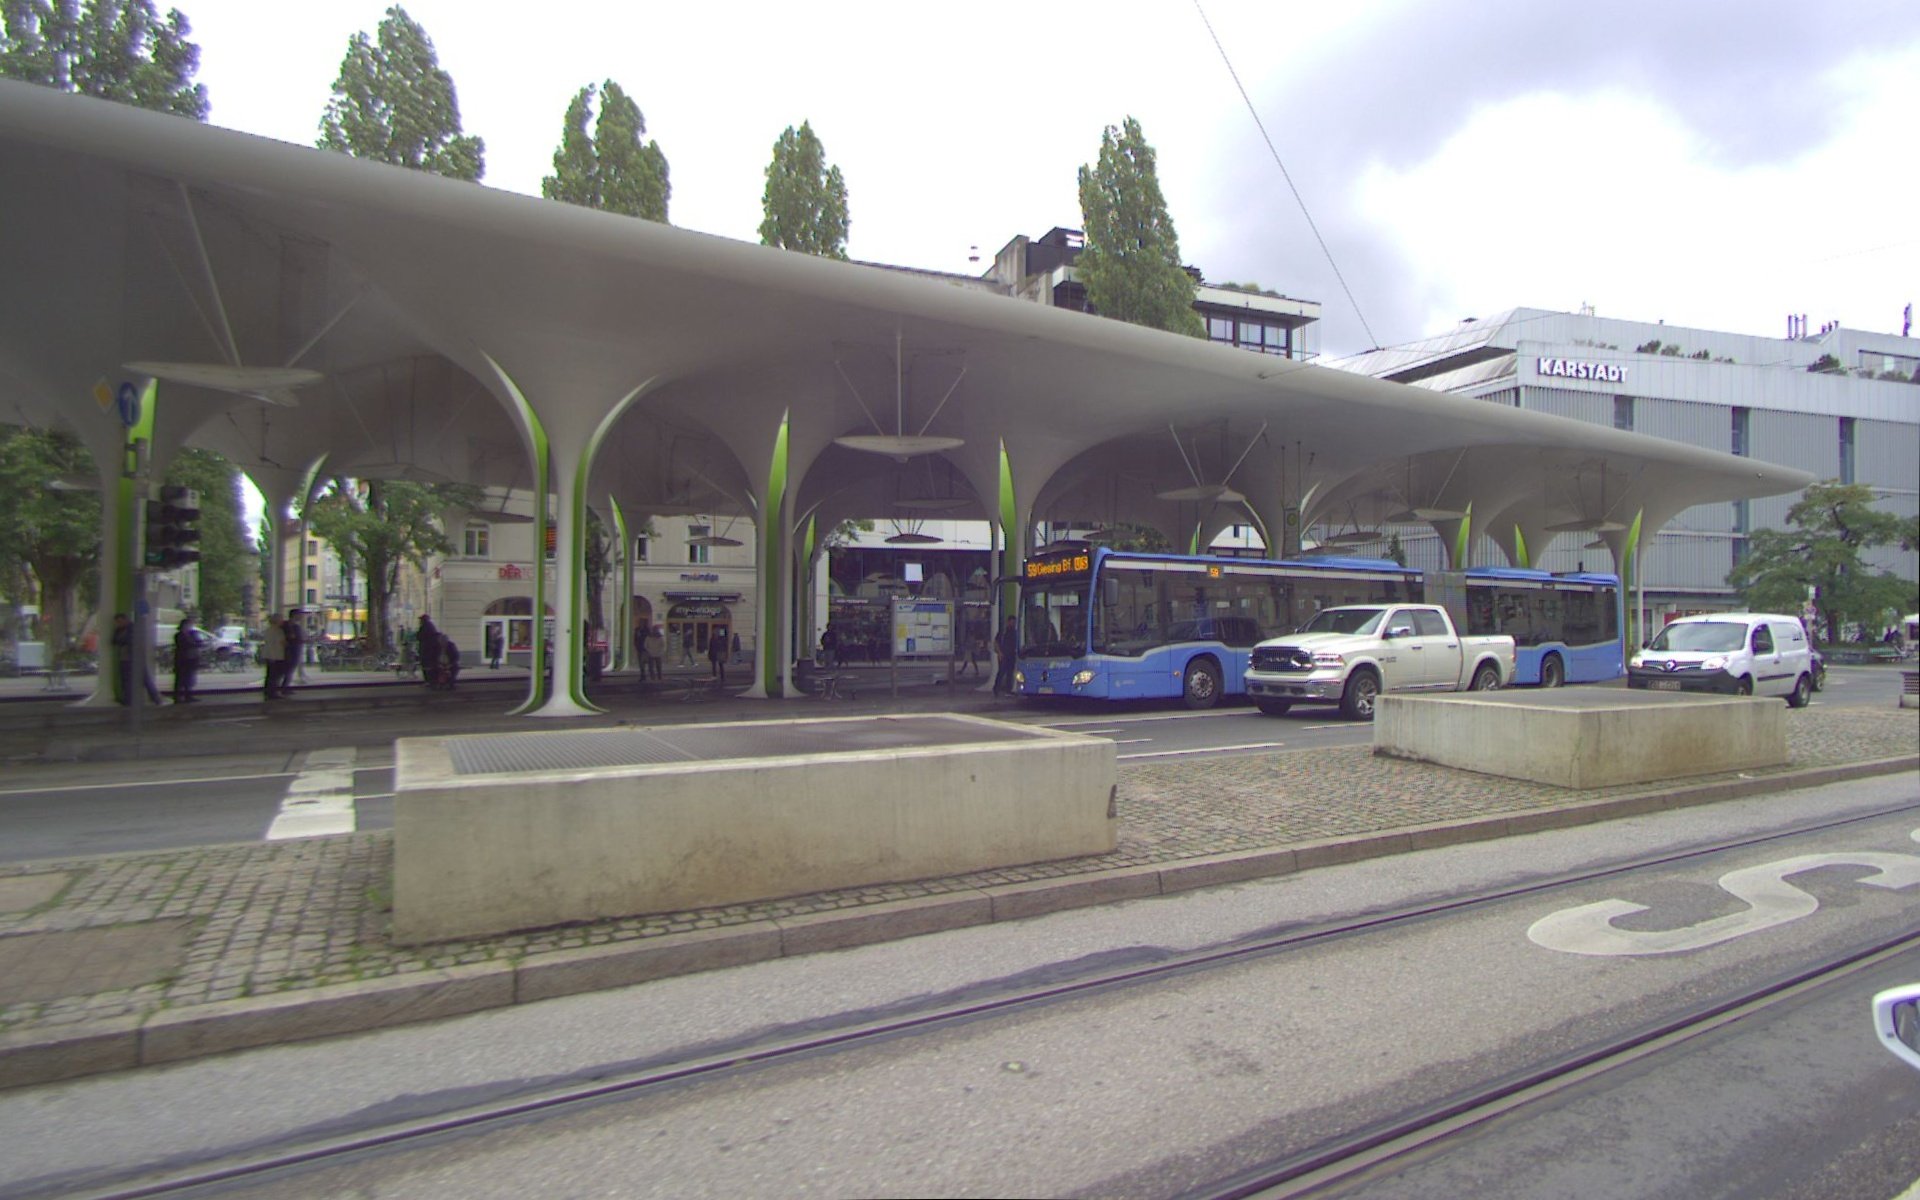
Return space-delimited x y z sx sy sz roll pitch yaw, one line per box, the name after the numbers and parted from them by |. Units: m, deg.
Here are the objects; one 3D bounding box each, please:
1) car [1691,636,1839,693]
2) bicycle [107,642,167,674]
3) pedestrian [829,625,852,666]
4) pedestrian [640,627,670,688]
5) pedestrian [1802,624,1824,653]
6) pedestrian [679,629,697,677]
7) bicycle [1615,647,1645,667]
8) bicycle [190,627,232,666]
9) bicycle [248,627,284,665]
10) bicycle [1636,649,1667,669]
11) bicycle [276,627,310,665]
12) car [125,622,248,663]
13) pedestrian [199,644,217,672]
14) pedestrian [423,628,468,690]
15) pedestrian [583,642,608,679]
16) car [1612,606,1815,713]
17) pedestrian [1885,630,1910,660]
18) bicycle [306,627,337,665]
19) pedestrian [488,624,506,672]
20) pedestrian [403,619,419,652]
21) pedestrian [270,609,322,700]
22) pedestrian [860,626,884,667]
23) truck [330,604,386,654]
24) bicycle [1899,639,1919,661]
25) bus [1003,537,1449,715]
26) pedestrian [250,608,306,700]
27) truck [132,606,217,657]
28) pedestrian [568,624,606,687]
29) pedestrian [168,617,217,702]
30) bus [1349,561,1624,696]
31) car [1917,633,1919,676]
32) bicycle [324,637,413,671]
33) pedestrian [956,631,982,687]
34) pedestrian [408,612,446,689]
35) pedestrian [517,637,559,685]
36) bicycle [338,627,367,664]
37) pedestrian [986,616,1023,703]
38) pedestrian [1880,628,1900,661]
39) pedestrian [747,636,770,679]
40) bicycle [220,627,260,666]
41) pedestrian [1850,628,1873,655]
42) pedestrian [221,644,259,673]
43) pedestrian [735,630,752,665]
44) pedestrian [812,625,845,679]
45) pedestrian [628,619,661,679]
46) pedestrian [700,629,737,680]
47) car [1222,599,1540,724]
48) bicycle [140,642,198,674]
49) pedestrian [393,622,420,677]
21.607 1.671 26.912 4.561 1.397 1.664 1 -2 -32 | car
-31.799 2.224 38.862 0.726 1.149 2.677 1 -1 -14 | bicycle
-5.306 2.029 44.615 0.981 1.796 0.931 1 -1 -10 | pedestrian
-8.309 1.549 27.391 0.690 1.639 0.644 1 -1 -26 | pedestrian
50.178 2.257 59.111 0.774 1.710 0.862 0 -1 26 | pedestrian
-12.671 2.475 46.786 0.716 2.201 0.556 1 -1 -19 | pedestrian
36.551 3.124 54.808 1.962 1.011 0.524 3 -2 -29 | bicycle
-32.968 2.013 44.286 0.989 1.634 3.598 1 -1 -29 | bicycle
-31.192 2.050 45.191 0.989 1.634 3.598 1 -1 -29 | bicycle
36.985 3.142 53.723 1.962 1.011 0.524 3 -2 -29 | bicycle
-30.340 2.067 45.735 0.989 1.634 3.598 1 -1 -29 | bicycle
-38.576 2.116 50.235 4.761 1.945 1.979 2 -2 -38 | car
-29.584 2.272 39.516 0.397 1.097 0.467 1 -1 -16 | pedestrian
-11.794 1.333 23.061 0.829 1.388 0.961 1 -1 -23 | pedestrian
-10.360 1.713 28.551 0.450 1.002 0.513 0 -1 34 | pedestrian
14.604 1.114 19.422 4.172 1.879 1.776 1 -3 -33 | car
51.760 2.479 55.458 0.740 1.676 0.770 0 -1 -19 | pedestrian
-29.356 2.088 46.226 0.989 1.634 3.598 1 -1 -29 | bicycle
-18.108 1.871 39.259 0.546 1.838 0.556 1 -1 -18 | pedestrian
-30.969 1.998 56.658 0.791 1.807 0.951 1 -1 -31 | pedestrian
-14.257 1.152 21.580 0.870 1.897 0.706 1 -1 -37 | pedestrian
-3.952 2.061 44.884 0.981 1.796 0.931 1 -1 -10 | pedestrian
-32.701 1.593 54.670 2.412 2.546 7.126 1 -2 -30 | truck
50.209 2.607 52.566 0.368 1.126 1.569 1 -1 -25 | bicycle
5.933 0.610 21.071 10.399 3.046 2.647 1 -3 -32 | bus
-13.343 1.048 19.659 0.797 1.750 0.670 -1 -2 37 | pedestrian
-43.123 1.694 55.301 2.259 2.658 5.324 1 -1 -22 | truck
-9.591 1.415 25.823 0.652 1.585 0.640 -1 -2 35 | pedestrian
-14.503 1.107 18.986 0.586 1.565 0.634 -1 -2 43 | pedestrian
13.563 0.772 25.711 7.424 3.047 2.649 1 -3 -30 | bus
33.675 1.798 33.419 4.186 1.414 1.669 1 -3 -32 | car
-23.535 2.144 40.017 2.893 1.331 0.839 1 -1 -16 | bicycle
0.336 2.187 37.497 0.889 2.040 0.673 0 -1 5 | pedestrian
-12.914 1.216 24.359 0.772 1.812 0.760 1 -1 -27 | pedestrian
-10.820 1.549 25.744 0.867 1.170 0.908 1 1 -29 | pedestrian
-28.330 2.109 46.878 0.989 1.634 3.598 1 -1 -29 | bicycle
0.919 1.220 20.809 0.567 1.756 0.501 1 -2 -36 | pedestrian
52.269 2.488 56.445 0.740 1.796 0.770 -1 -1 37 | pedestrian
-6.051 1.711 30.117 0.563 1.282 0.520 0 -1 2 | pedestrian
-32.067 2.031 44.790 0.989 1.634 3.598 1 -1 -29 | bicycle
51.002 2.344 56.842 0.737 1.513 0.772 0 -1 26 | pedestrian
-28.586 2.316 39.907 0.606 1.097 1.835 1 -1 -15 | pedestrian
-10.755 2.353 49.867 0.742 1.699 0.790 1 -2 -20 | pedestrian
-4.338 1.691 33.062 0.882 1.753 0.869 1 -1 -22 | pedestrian
-9.167 1.424 29.162 0.635 1.719 0.700 0 -1 11 | pedestrian
-7.354 1.652 30.604 0.888 1.528 0.738 1 -2 -37 | pedestrian
7.630 1.025 17.958 6.088 1.912 2.164 1 -2 -32 | car
-30.888 2.244 39.270 0.726 1.149 2.677 1 -1 -14 | bicycle
-17.239 1.539 31.297 0.635 1.669 0.596 1 -2 -37 | pedestrian
